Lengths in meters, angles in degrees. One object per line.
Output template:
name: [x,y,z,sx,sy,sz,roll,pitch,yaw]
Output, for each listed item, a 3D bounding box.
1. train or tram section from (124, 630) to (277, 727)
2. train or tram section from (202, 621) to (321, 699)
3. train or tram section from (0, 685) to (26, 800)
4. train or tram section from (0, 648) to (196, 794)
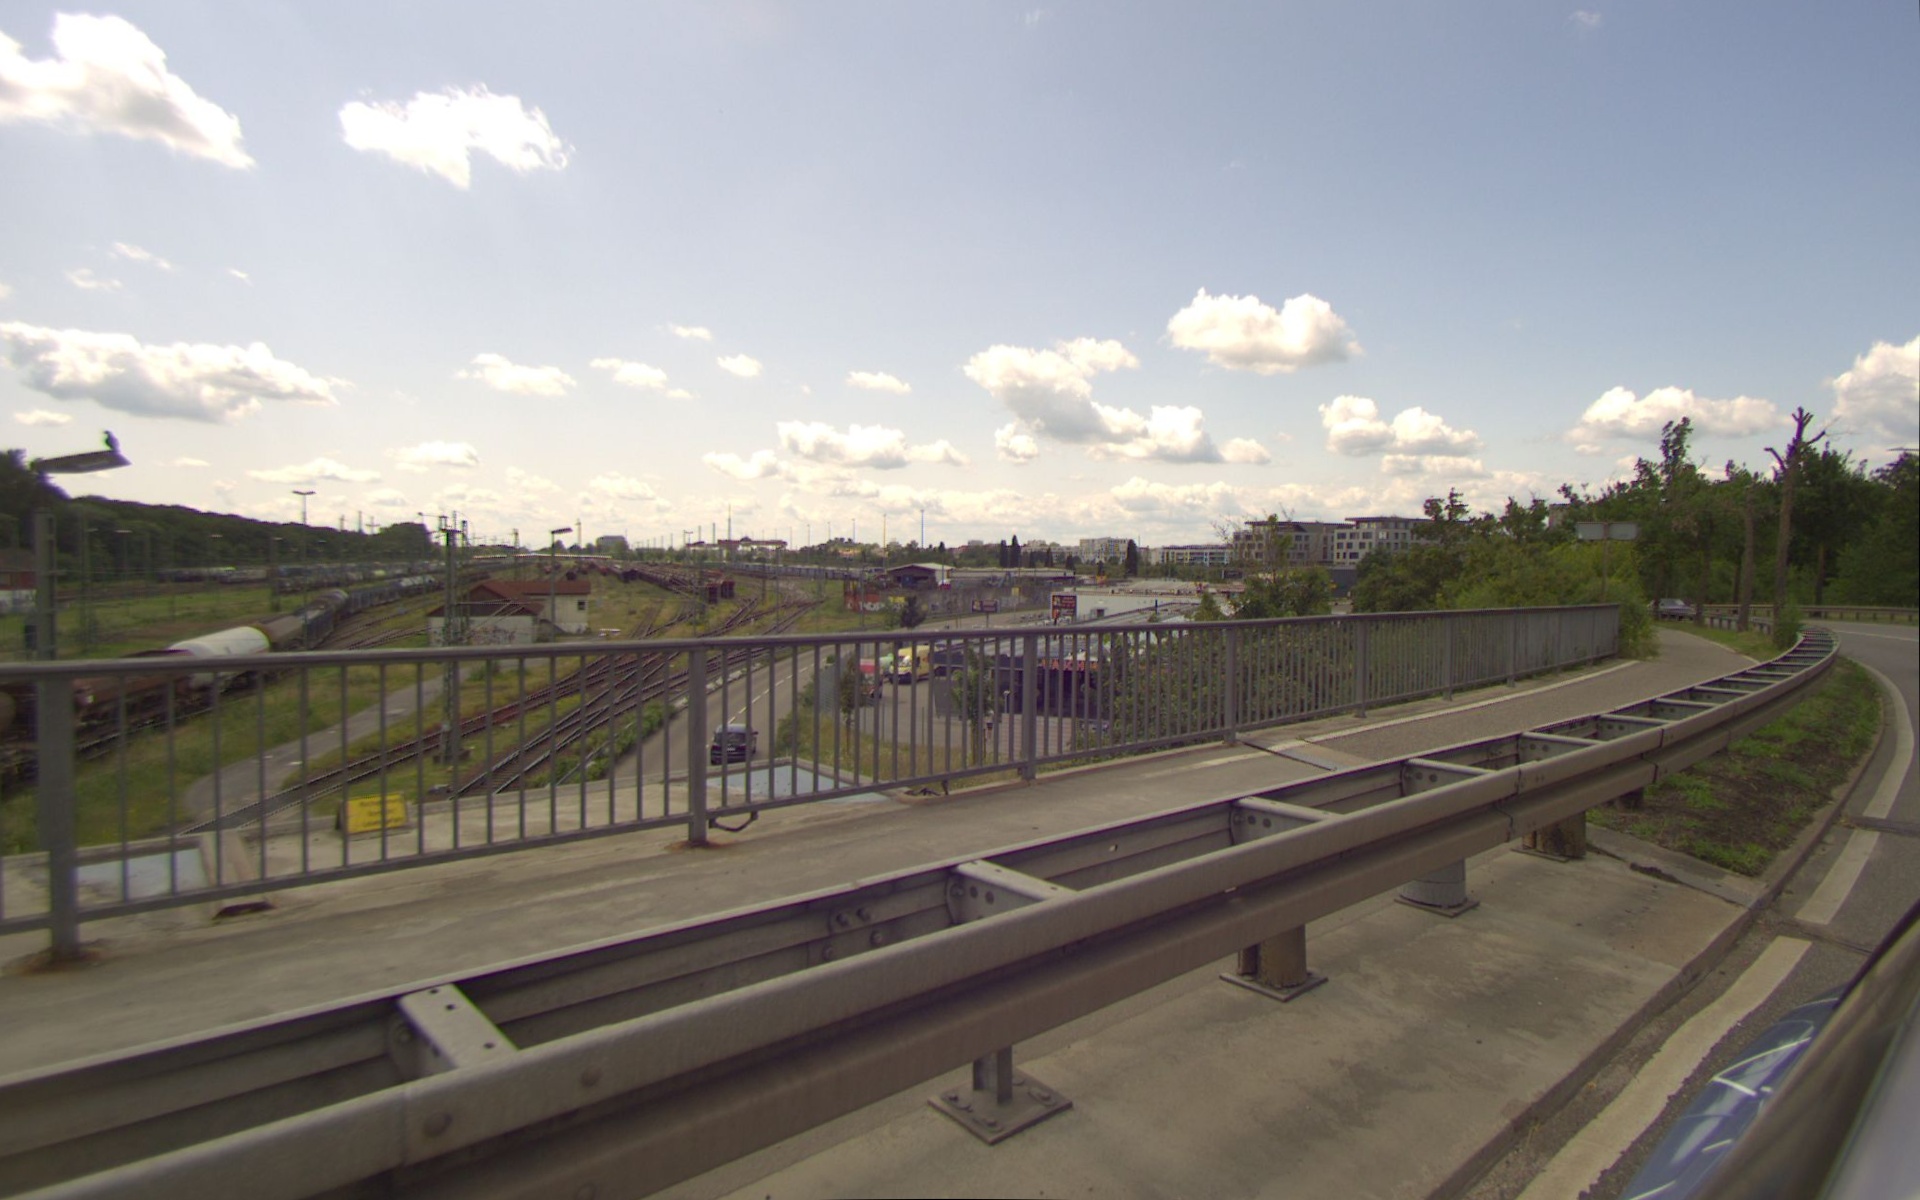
train or tram section: [-48.380,4.653,65.340,3.152,4.202,17.004,-4,3,-21]
train or tram section: [-53.229,4.275,77.859,3.147,4.202,17.738,-4,3,-21]
train or tram section: [-36.070,5.877,31.624,3.076,4.202,16.649,-4,3,-17]
train or tram section: [-42.001,5.259,48.471,3.154,4.202,18.943,-4,3,-20]
